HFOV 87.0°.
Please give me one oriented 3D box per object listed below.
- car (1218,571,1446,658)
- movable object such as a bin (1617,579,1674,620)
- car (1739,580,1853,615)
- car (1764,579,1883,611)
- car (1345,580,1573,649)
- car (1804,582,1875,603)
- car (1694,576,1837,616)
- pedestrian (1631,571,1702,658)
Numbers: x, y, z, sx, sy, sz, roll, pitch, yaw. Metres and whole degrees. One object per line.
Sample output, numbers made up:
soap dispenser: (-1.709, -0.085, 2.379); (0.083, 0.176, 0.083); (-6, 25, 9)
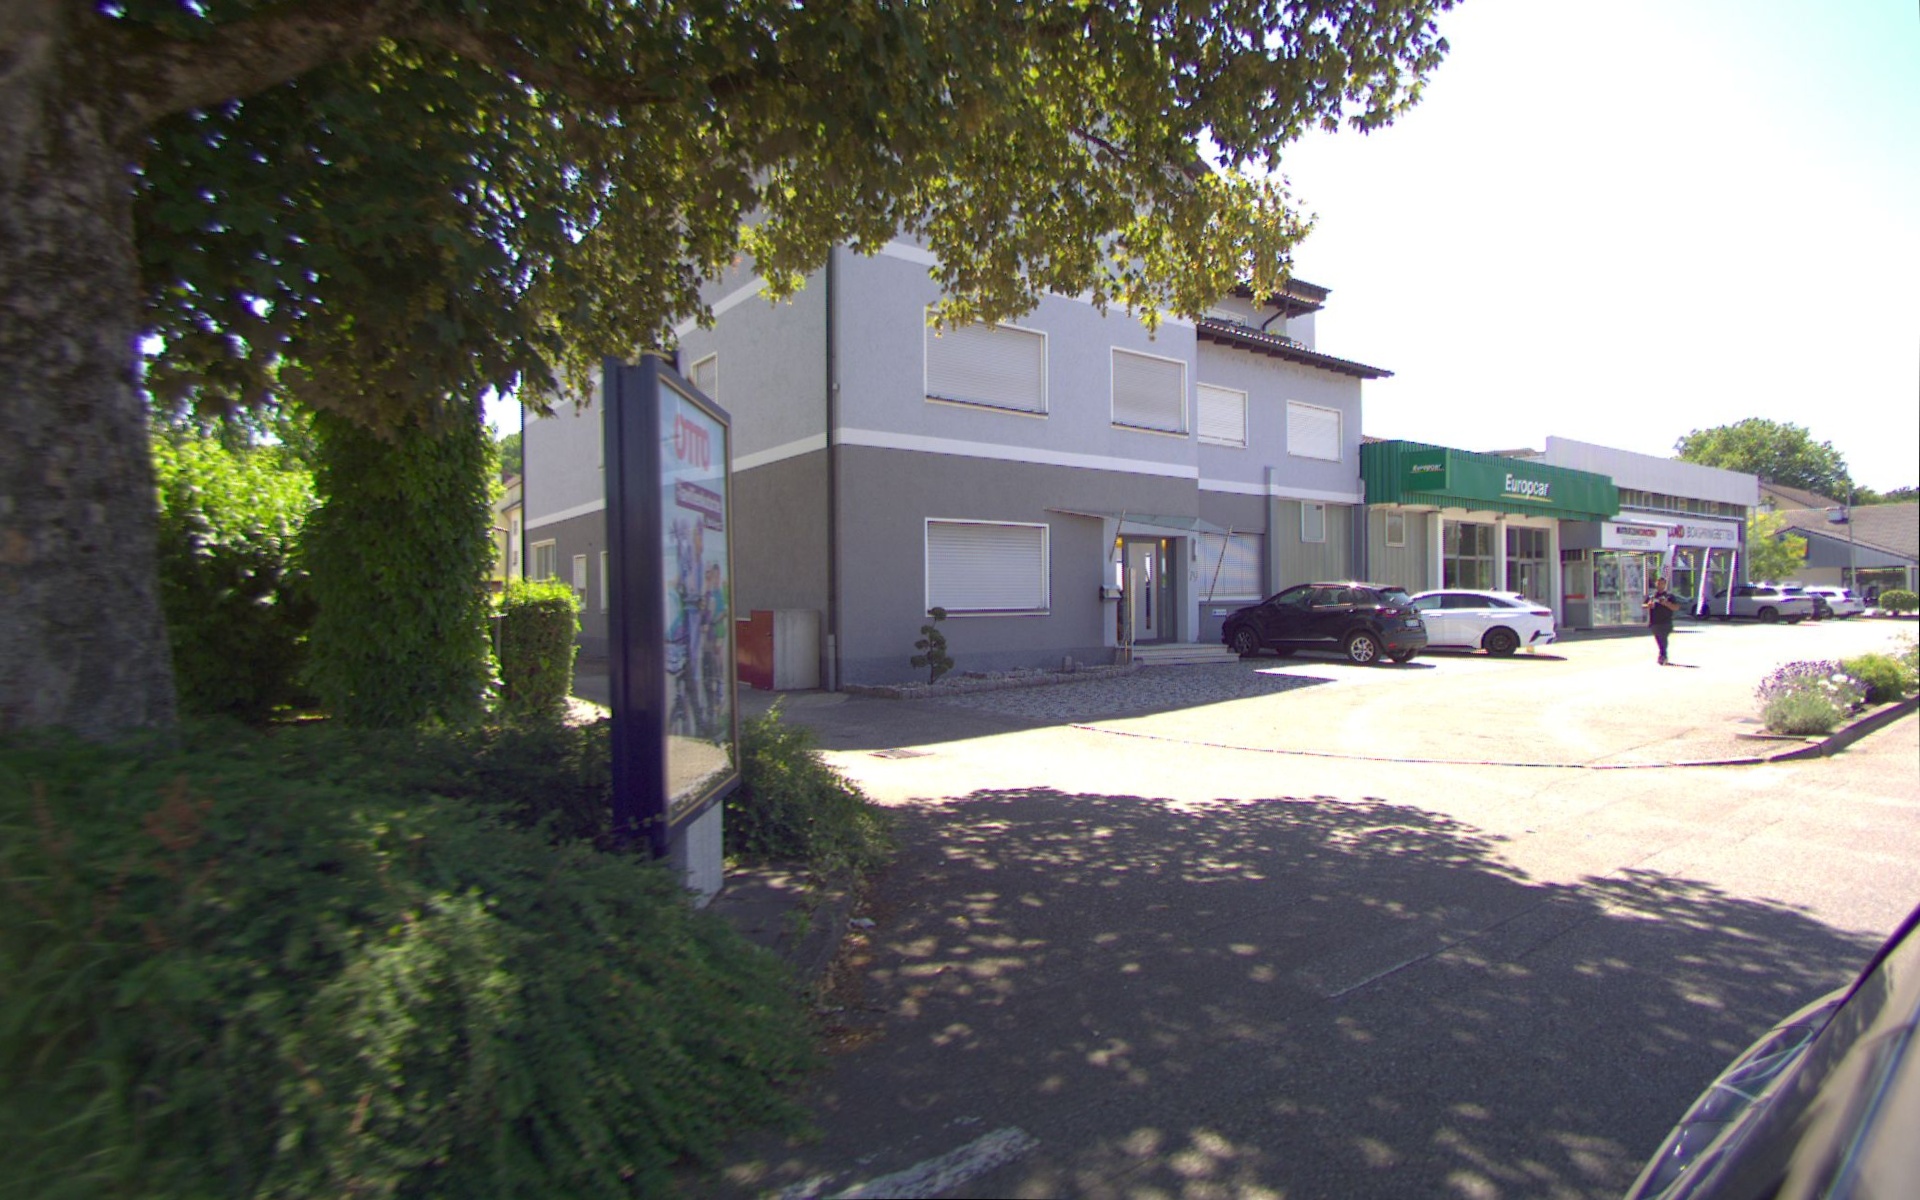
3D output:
car: (7.400, 0.195, 20.446); (1.766, 1.569, 3.995); (-1, 2, -40)
movable object such as a bin: (25.308, -0.041, 37.367); (0.688, 1.440, 1.570); (0, 2, -32)
car: (39.807, -0.156, 48.287); (1.643, 1.552, 3.875); (-1, 1, -21)
car: (41.790, -0.248, 49.073); (1.768, 1.479, 4.007); (-1, 1, -24)
car: (10.880, 0.299, 22.278); (4.317, 1.388, 1.937); (-1, 1, 28)
car: (63.920, -0.562, 73.616); (1.640, 1.435, 3.608); (-1, 0, -35)
car: (35.720, -0.208, 45.041); (1.958, 1.662, 4.606); (-1, 1, -20)
pedestrian: (13.873, 0.256, 19.873); (0.991, 1.661, 0.843); (-1, 1, -35)
